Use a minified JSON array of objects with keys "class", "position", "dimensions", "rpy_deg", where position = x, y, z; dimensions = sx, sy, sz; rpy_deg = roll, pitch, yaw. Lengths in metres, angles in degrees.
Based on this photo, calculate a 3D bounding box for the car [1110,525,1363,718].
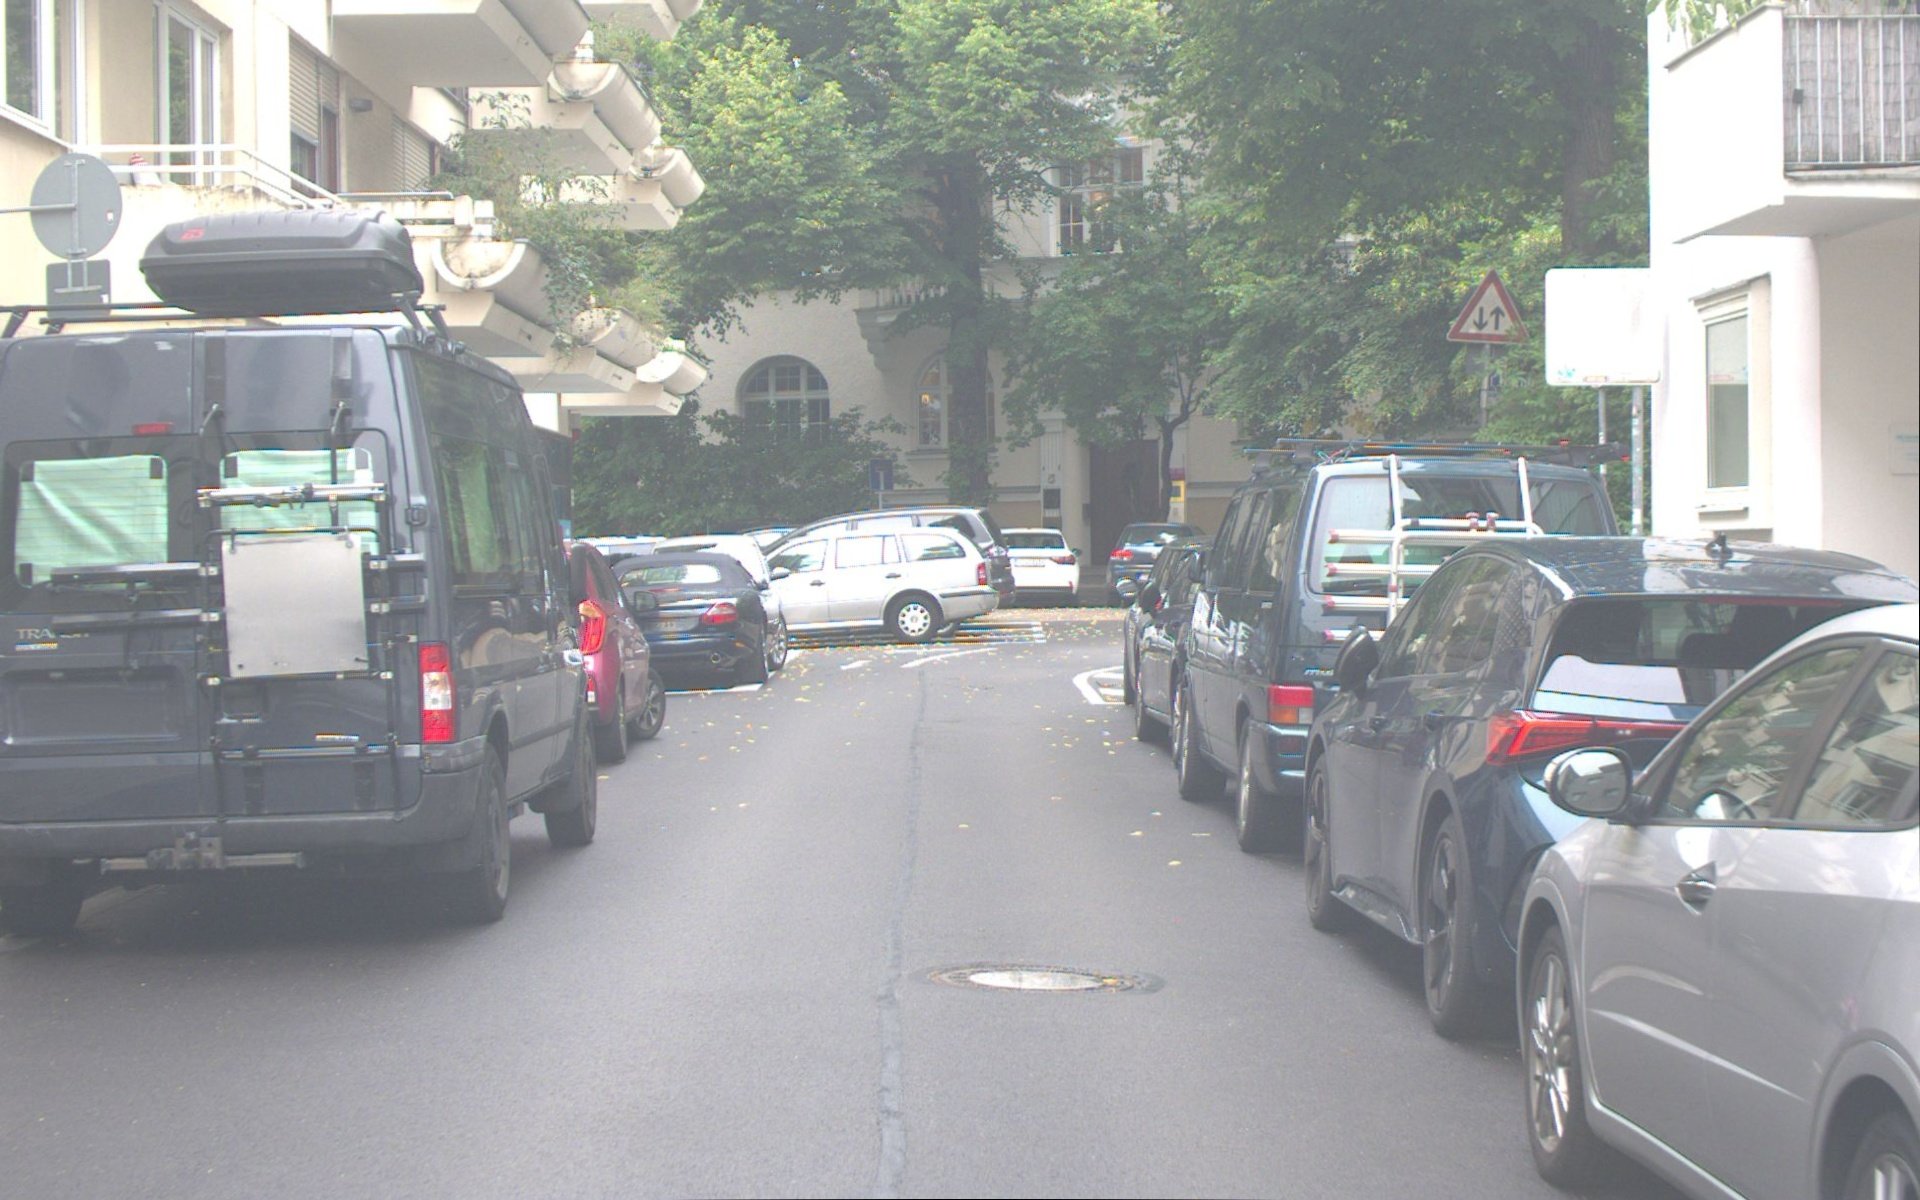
[{"class":"car","position":[2.178,0.123,27.971],"dimensions":[1.743,1.436,4.000],"rpy_deg":[-1,1,0]}]

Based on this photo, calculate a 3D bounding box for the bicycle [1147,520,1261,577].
[{"class":"bicycle","position":[4.838,-1.033,68.246],"dimensions":[2.232,1.111,0.576],"rpy_deg":[1,1,28]}]

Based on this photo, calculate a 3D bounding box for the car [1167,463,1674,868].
[{"class":"car","position":[2.193,0.255,17.687],"dimensions":[1.874,1.785,4.782],"rpy_deg":[-1,1,-1]}]

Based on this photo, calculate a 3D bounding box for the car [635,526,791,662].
[{"class":"car","position":[-2.791,-0.105,39.434],"dimensions":[1.560,1.416,3.834],"rpy_deg":[-2,1,-1]}]

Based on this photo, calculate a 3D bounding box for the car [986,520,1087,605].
[{"class":"car","position":[1.367,-0.685,60.489],"dimensions":[1.718,1.426,4.000],"rpy_deg":[0,1,2]}]

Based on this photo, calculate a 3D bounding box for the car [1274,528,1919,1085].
[{"class":"car","position":[2.304,0.540,11.951],"dimensions":[1.905,1.548,4.625],"rpy_deg":[-1,1,-1]}]

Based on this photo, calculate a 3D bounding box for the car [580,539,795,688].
[{"class":"car","position":[-2.633,0.087,34.136],"dimensions":[1.797,1.273,4.617],"rpy_deg":[-2,1,-1]}]

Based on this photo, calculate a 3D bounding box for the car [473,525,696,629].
[{"class":"car","position":[-6.018,-0.380,55.013],"dimensions":[3.287,1.625,1.510],"rpy_deg":[0,1,-19]}]

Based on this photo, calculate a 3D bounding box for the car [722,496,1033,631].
[{"class":"car","position":[-1.171,-0.530,48.502],"dimensions":[4.219,1.678,1.903],"rpy_deg":[-3,1,-2]}]

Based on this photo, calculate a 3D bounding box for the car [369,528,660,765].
[{"class":"car","position":[-3.019,0.261,23.912],"dimensions":[1.619,1.491,3.709],"rpy_deg":[-1,1,-1]}]

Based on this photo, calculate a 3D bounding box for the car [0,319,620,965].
[{"class":"car","position":[-2.814,0.118,15.130],"dimensions":[2.018,2.271,5.391],"rpy_deg":[-2,1,0]}]

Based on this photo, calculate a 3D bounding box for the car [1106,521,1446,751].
[{"class":"car","position":[2.069,0.184,23.563],"dimensions":[1.833,1.414,4.059],"rpy_deg":[-1,1,-1]}]

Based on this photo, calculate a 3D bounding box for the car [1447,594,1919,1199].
[{"class":"car","position":[2.272,0.767,6.868],"dimensions":[1.759,1.426,4.262],"rpy_deg":[2,1,-3]}]

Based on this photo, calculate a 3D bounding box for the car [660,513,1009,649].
[{"class":"car","position":[-1.558,-0.255,43.255],"dimensions":[4.227,1.450,1.721],"rpy_deg":[-3,1,-1]}]

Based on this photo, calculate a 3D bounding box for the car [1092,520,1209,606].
[{"class":"car","position":[3.321,-0.666,59.393],"dimensions":[1.792,1.426,3.999],"rpy_deg":[0,1,7]}]
